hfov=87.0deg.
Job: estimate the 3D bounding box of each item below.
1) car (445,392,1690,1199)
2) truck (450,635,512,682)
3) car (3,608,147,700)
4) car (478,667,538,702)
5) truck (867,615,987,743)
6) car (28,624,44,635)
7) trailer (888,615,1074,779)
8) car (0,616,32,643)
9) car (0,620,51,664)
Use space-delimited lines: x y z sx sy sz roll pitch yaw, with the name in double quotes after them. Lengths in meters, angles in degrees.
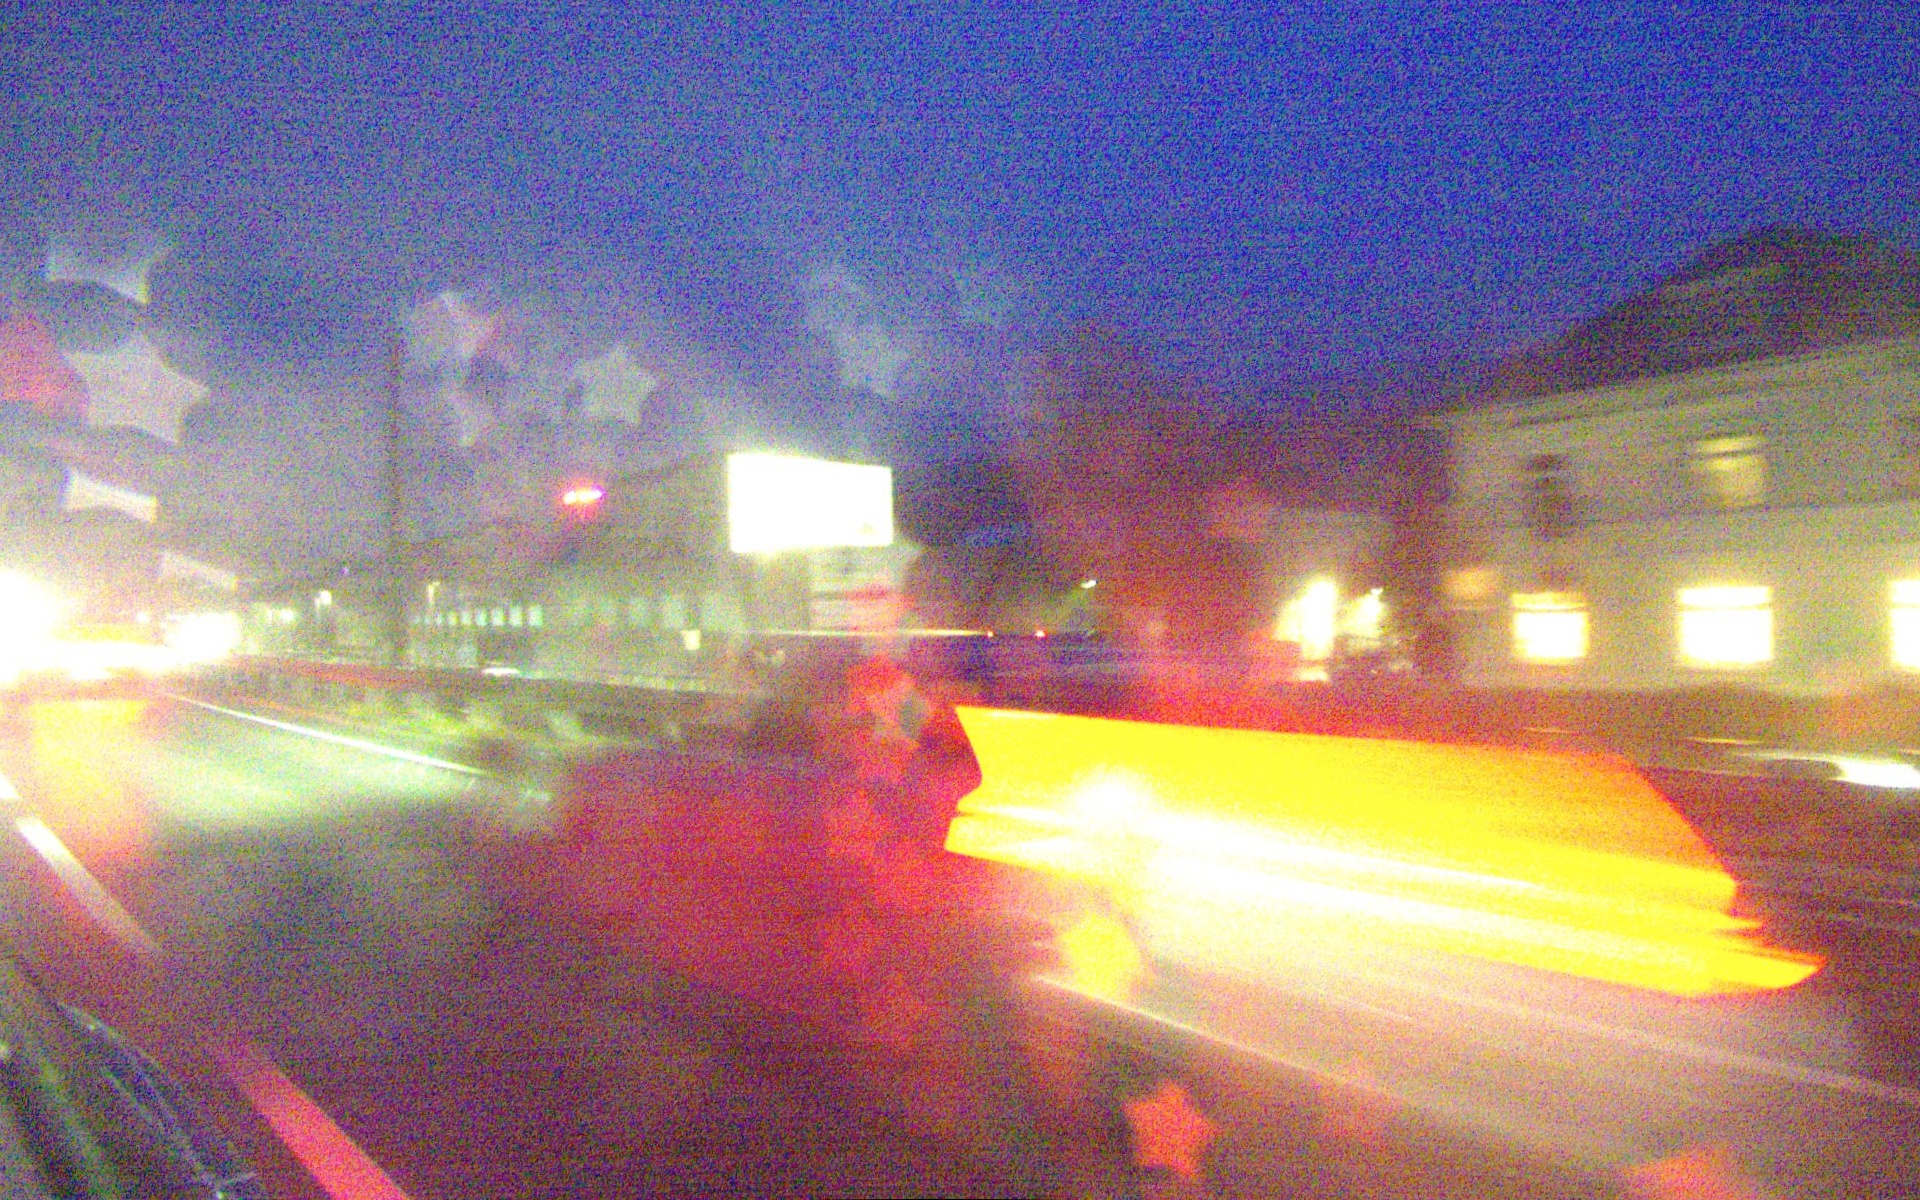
-0.056 0.587 3.987 4.594 1.820 1.973 -1 -1 41 "car"
-38.538 4.626 81.273 2.721 3.509 8.120 0 -1 -39 "truck"
-18.323 1.035 20.888 4.292 1.688 1.789 -1 -1 42 "car"
-26.329 4.873 58.827 1.787 1.688 4.295 0 -1 -45 "car"
-1.577 3.068 42.645 3.281 4.832 7.340 0 -1 -16 "truck"
-149.808 4.759 164.106 1.757 1.586 4.006 0 -1 -41 "car"
0.283 2.979 36.098 3.281 4.832 11.589 0 -1 -16 "trailer"
-55.306 1.727 59.005 1.616 1.531 3.775 2 -2 -41 "car"
-34.380 1.489 36.740 3.681 1.490 1.766 -1 -1 44 "car"
